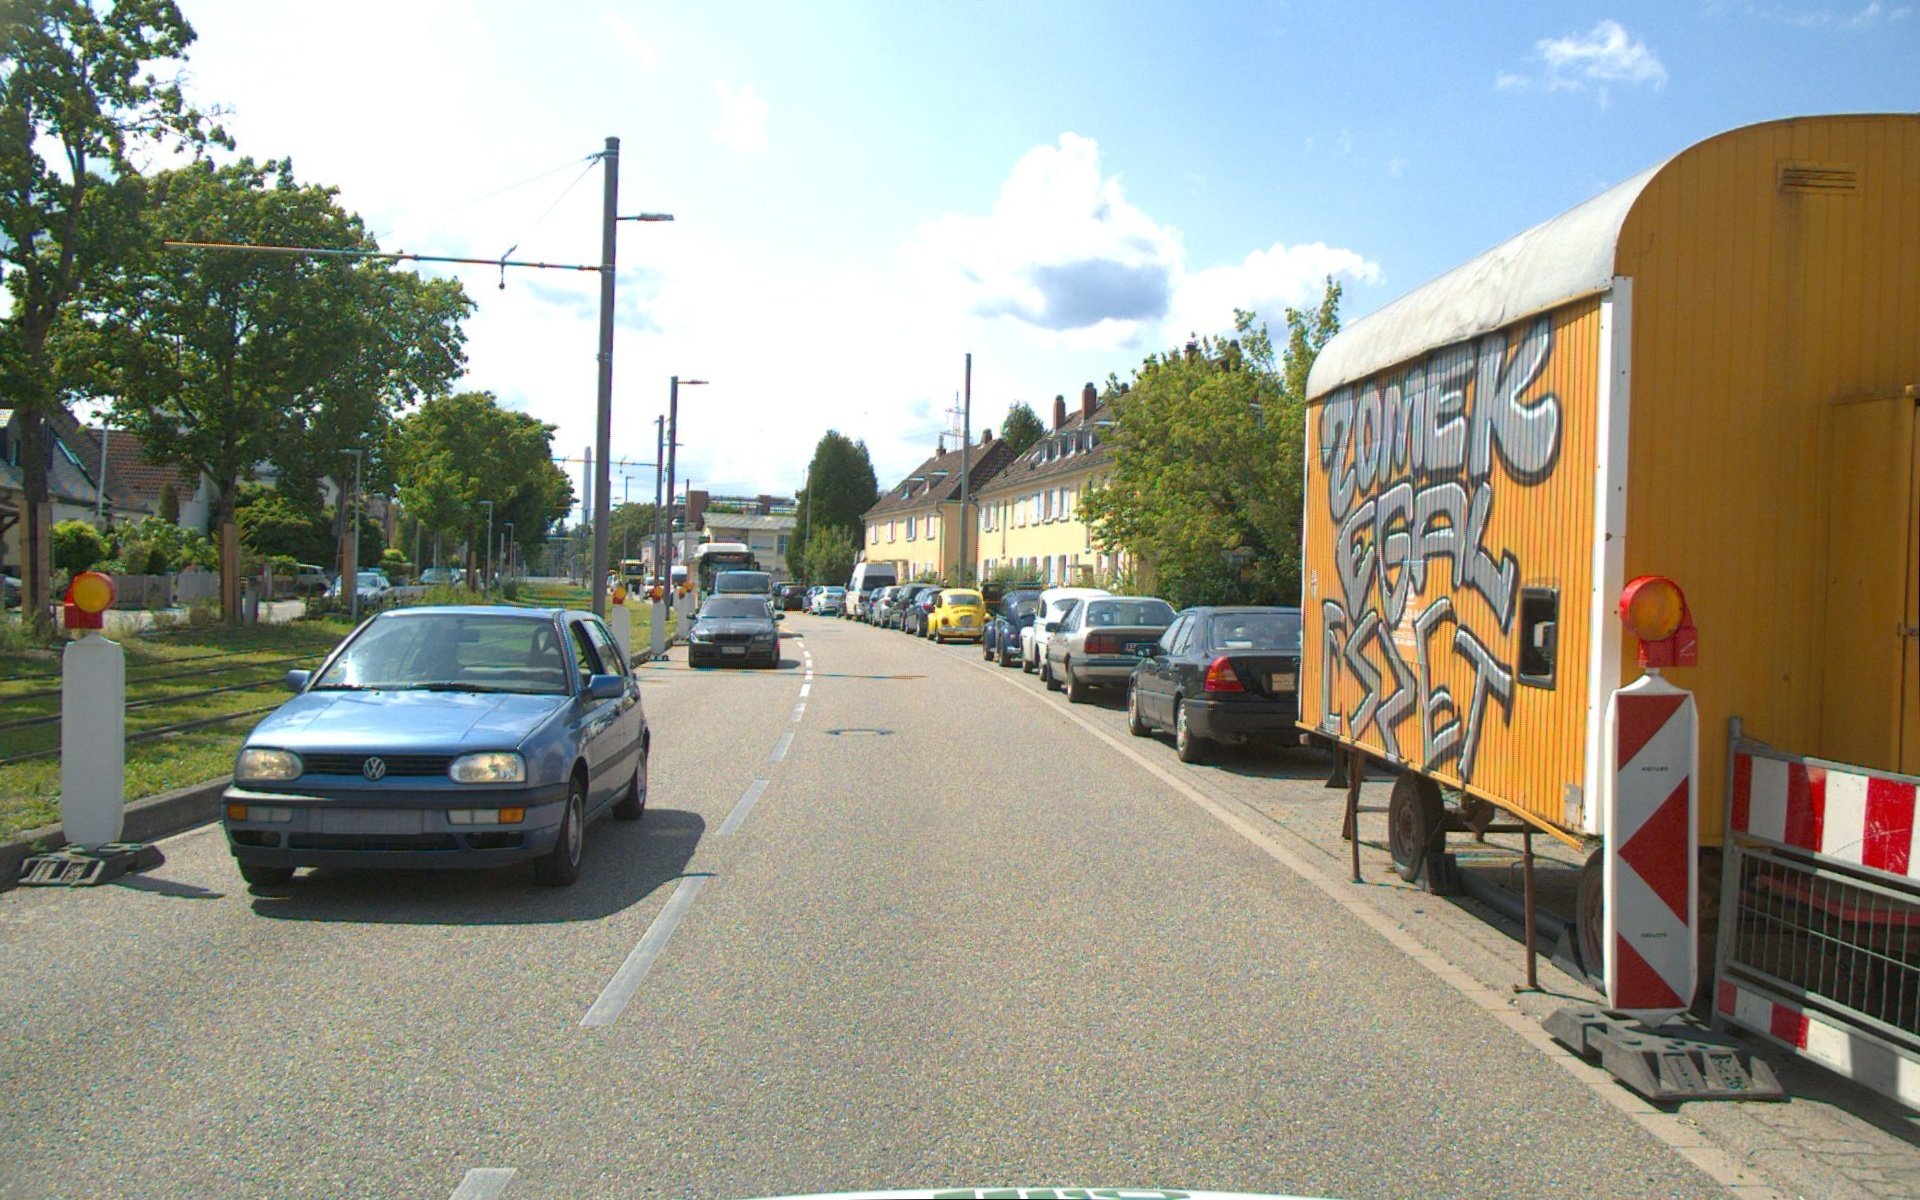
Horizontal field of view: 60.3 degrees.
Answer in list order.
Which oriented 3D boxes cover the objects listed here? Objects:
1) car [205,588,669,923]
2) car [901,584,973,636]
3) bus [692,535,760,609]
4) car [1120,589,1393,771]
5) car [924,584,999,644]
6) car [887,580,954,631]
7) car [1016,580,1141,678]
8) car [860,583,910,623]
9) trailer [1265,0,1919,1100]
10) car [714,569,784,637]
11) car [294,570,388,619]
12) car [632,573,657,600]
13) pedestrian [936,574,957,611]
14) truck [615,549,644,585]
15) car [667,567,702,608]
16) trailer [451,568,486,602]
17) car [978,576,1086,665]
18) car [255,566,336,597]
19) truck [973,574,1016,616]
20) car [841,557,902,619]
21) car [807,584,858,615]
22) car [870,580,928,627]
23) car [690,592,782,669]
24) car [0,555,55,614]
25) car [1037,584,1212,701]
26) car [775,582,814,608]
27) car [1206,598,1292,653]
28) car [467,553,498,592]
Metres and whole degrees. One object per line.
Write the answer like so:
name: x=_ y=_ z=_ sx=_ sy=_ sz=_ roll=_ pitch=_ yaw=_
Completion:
car: x=-2.726 y=0.689 z=9.522 sx=1.632 sy=1.474 sz=3.956 roll=-1 pitch=1 yaw=-4
car: x=-0.761 y=0.282 z=51.521 sx=1.606 sy=1.508 sz=4.115 roll=2 pitch=0 yaw=-9
bus: x=-11.891 y=-1.377 z=83.299 sx=2.590 sy=3.472 sz=12.213 roll=0 pitch=1 yaw=-12
car: x=2.706 y=0.662 z=16.098 sx=1.546 sy=1.474 sz=4.450 roll=2 pitch=0 yaw=-4
car: x=-0.008 y=0.351 z=46.427 sx=1.605 sy=1.508 sz=3.925 roll=-1 pitch=1 yaw=-7
car: x=-1.393 y=0.157 z=56.976 sx=1.607 sy=1.630 sz=3.921 roll=2 pitch=0 yaw=-11
car: x=1.987 y=0.454 z=28.878 sx=1.546 sy=1.539 sz=4.456 roll=2 pitch=0 yaw=-4
car: x=-3.009 y=0.109 z=65.629 sx=1.508 sy=1.470 sz=3.729 roll=2 pitch=0 yaw=-9
trailer: x=3.311 y=-0.165 z=7.468 sx=2.636 sy=3.283 sz=5.079 roll=2 pitch=0 yaw=-3
car: x=-6.611 y=0.058 z=52.309 sx=1.917 sy=2.000 sz=5.288 roll=1 pitch=0 yaw=-5
car: x=-19.450 y=-0.181 z=52.141 sx=1.786 sy=1.430 sz=4.803 roll=2 pitch=0 yaw=-9
car: x=-22.207 y=-0.934 z=116.323 sx=1.703 sy=1.804 sz=4.296 roll=2 pitch=0 yaw=-11
pedestrian: x=-0.648 y=-0.333 z=76.702 sx=0.838 sy=1.681 sz=0.635 roll=2 pitch=0 yaw=-9
truck: x=-33.158 y=-3.269 z=165.817 sx=2.517 sy=3.520 sz=7.122 roll=0 pitch=1 yaw=-15
car: x=-17.755 y=-0.798 z=106.542 sx=2.064 sy=2.486 sz=5.557 roll=2 pitch=0 yaw=-10
trailer: x=-26.179 y=-0.814 z=88.170 sx=1.539 sy=1.707 sz=3.360 roll=2 pitch=0 yaw=-14
car: x=1.413 y=0.381 z=33.983 sx=1.519 sy=1.669 sz=4.240 roll=2 pitch=0 yaw=-7
car: x=-36.260 y=-1.003 z=90.326 sx=3.923 sy=1.598 sz=1.786 roll=1 pitch=0 yaw=-17
truck: x=1.437 y=-0.221 z=69.429 sx=1.321 sy=1.718 sz=2.435 roll=1 pitch=0 yaw=-10
car: x=-3.833 y=-0.514 z=70.917 sx=1.894 sy=2.524 sz=5.503 roll=1 pitch=0 yaw=-11
car: x=-6.483 y=-0.031 z=83.443 sx=1.769 sy=1.483 sz=4.747 roll=0 pitch=0 yaw=-15
car: x=-2.292 y=0.110 z=61.008 sx=1.606 sy=1.630 sz=4.020 roll=2 pitch=0 yaw=-9
car: x=-4.511 y=0.566 z=33.423 sx=1.692 sy=1.413 sz=4.115 roll=1 pitch=0 yaw=-7
car: x=-27.106 y=-0.476 z=44.480 sx=4.388 sy=1.550 sz=1.922 roll=2 pitch=0 yaw=-9
car: x=2.243 y=0.533 z=23.790 sx=1.673 sy=1.474 sz=4.831 roll=2 pitch=0 yaw=-4
car: x=-9.756 y=-0.315 z=97.362 sx=1.734 sy=1.442 sz=3.986 roll=0 pitch=1 yaw=-14
car: x=7.947 y=0.664 z=45.752 sx=1.603 sy=1.379 sz=4.087 roll=1 pitch=0 yaw=-1
car: x=-35.478 y=-2.051 z=122.854 sx=2.041 sy=2.768 sz=6.967 roll=0 pitch=1 yaw=-18
